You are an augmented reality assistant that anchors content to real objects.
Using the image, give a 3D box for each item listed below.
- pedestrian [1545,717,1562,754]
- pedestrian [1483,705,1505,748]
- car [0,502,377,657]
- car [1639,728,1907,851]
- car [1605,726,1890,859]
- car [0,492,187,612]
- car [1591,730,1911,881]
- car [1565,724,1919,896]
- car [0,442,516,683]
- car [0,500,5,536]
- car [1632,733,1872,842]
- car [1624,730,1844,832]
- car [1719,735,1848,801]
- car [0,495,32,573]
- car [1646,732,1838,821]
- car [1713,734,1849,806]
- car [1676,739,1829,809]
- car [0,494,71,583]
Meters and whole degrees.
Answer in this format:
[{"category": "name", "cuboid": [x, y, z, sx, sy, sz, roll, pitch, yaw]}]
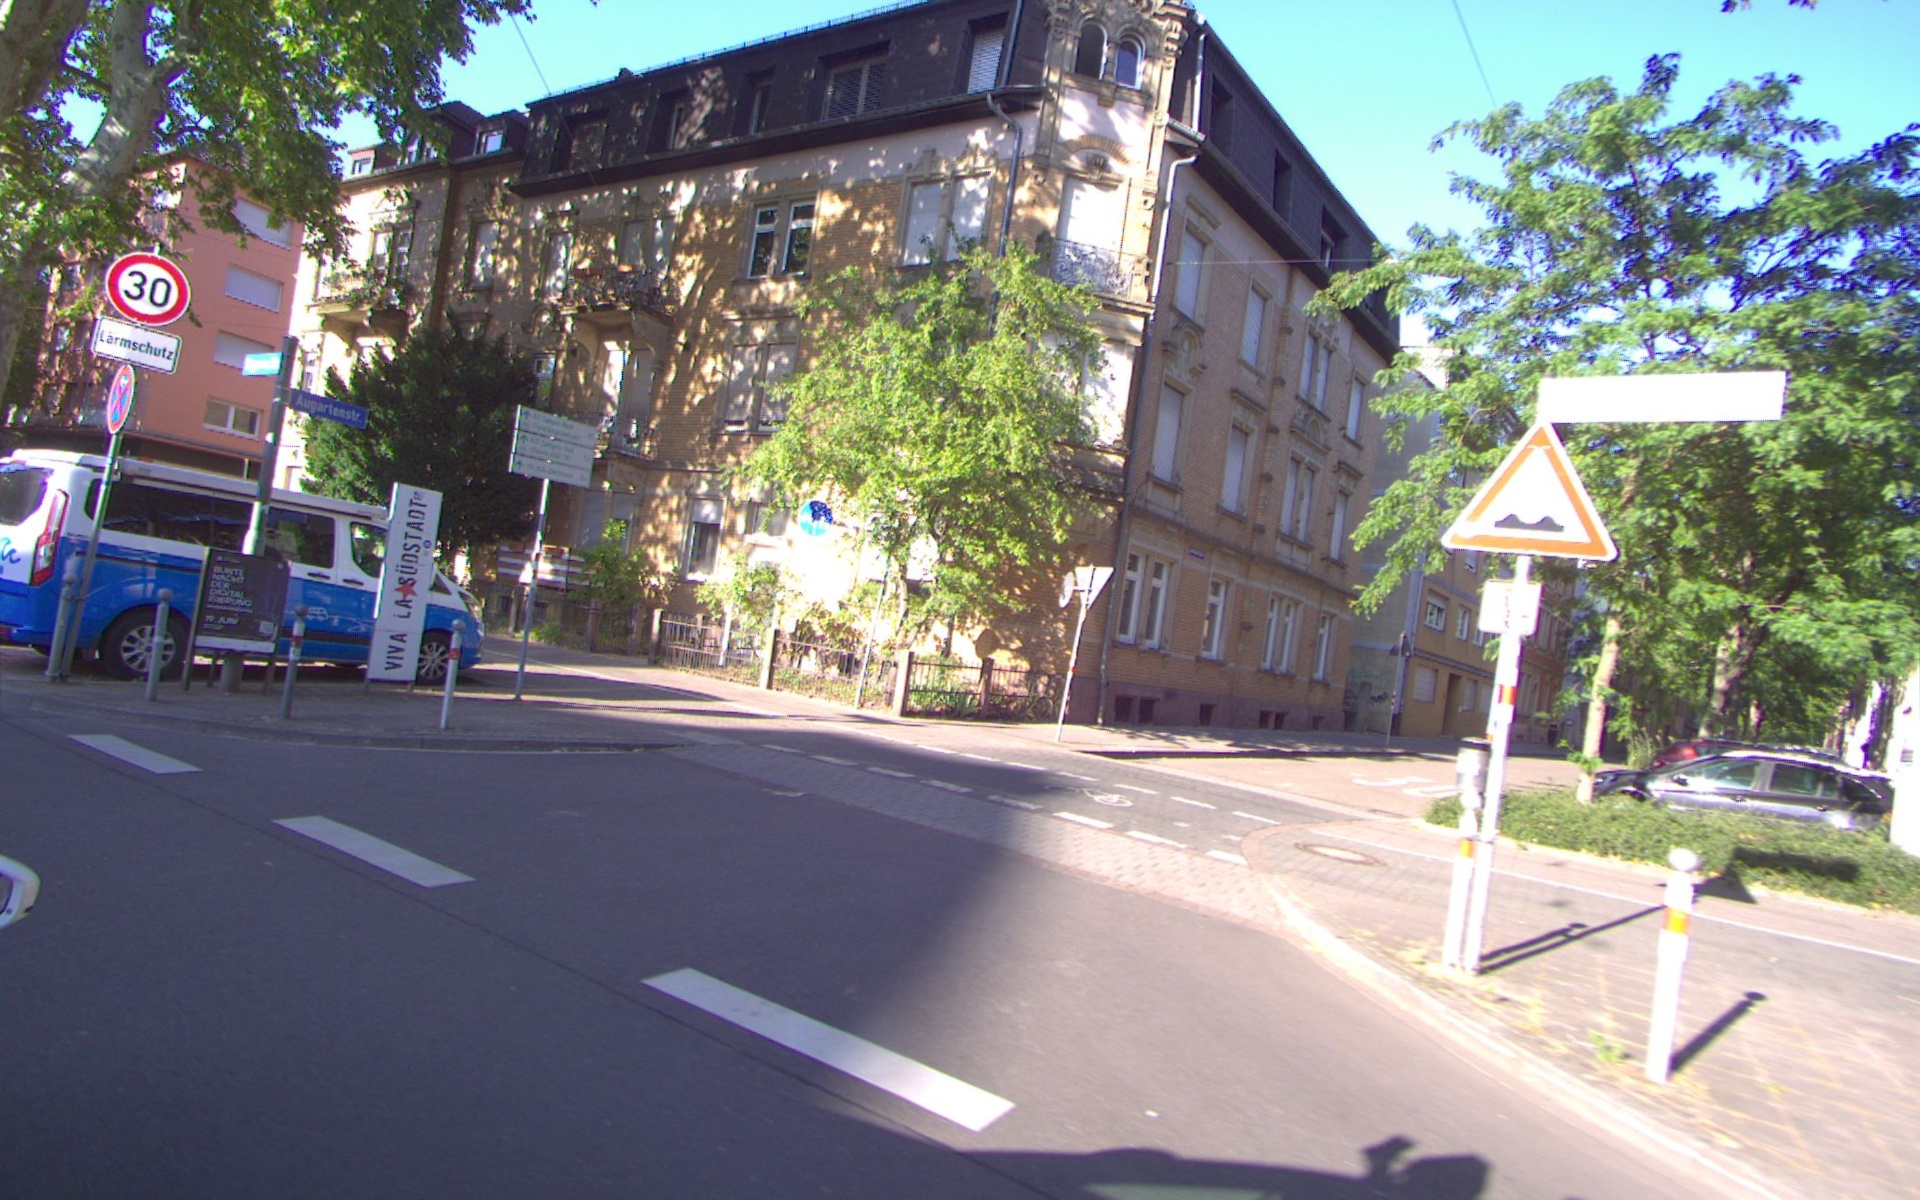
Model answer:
[{"category": "pedestrian", "cuboid": [29.478, 6.724, 49.953, 0.515, 1.768, 0.488, 7, -1, 38]}, {"category": "pedestrian", "cuboid": [23.252, 5.514, 43.776, 0.515, 1.768, 0.922, 7, -1, 38]}, {"category": "car", "cuboid": [-10.021, -0.190, 13.031, 1.760, 1.506, 3.790, 7, -1, 29]}, {"category": "car", "cuboid": [16.254, 3.730, 20.303, 3.944, 1.600, 1.724, 6, -2, 41]}, {"category": "car", "cuboid": [14.641, 3.511, 18.886, 3.944, 1.600, 1.724, 6, -2, 41]}, {"category": "car", "cuboid": [-15.041, -0.864, 16.050, 1.760, 1.638, 3.790, 7, -1, 29]}, {"category": "car", "cuboid": [13.170, 3.334, 16.969, 3.944, 1.600, 1.724, 6, -2, 41]}, {"category": "car", "cuboid": [11.560, 2.999, 15.050, 3.944, 1.600, 1.724, 6, -2, 41]}, {"category": "car", "cuboid": [-7.923, -0.249, 11.374, 2.156, 2.037, 4.857, 7, -1, 28]}, {"category": "car", "cuboid": [-24.491, -1.888, 22.463, 1.788, 1.591, 4.207, 7, -3, 34]}, {"category": "car", "cuboid": [17.480, 4.072, 22.353, 3.944, 1.553, 1.724, 6, -2, 41]}, {"category": "car", "cuboid": [18.551, 4.287, 24.235, 3.944, 1.600, 1.724, 6, -2, 41]}, {"category": "car", "cuboid": [45.578, 9.261, 55.789, 5.229, 2.639, 2.135, 7, -2, 41]}, {"category": "car", "cuboid": [-22.598, -1.741, 21.041, 1.846, 1.637, 4.212, 7, -2, 29]}, {"category": "car", "cuboid": [21.420, 4.783, 27.667, 3.944, 1.600, 1.724, 6, -2, 41]}, {"category": "car", "cuboid": [32.392, 6.666, 39.775, 3.944, 2.018, 1.793, 7, -2, 41]}, {"category": "car", "cuboid": [27.346, 5.957, 34.809, 3.944, 1.600, 1.724, 6, -2, 41]}, {"category": "car", "cuboid": [-20.491, -1.498, 19.687, 1.788, 1.637, 4.207, 7, -3, 34]}]
